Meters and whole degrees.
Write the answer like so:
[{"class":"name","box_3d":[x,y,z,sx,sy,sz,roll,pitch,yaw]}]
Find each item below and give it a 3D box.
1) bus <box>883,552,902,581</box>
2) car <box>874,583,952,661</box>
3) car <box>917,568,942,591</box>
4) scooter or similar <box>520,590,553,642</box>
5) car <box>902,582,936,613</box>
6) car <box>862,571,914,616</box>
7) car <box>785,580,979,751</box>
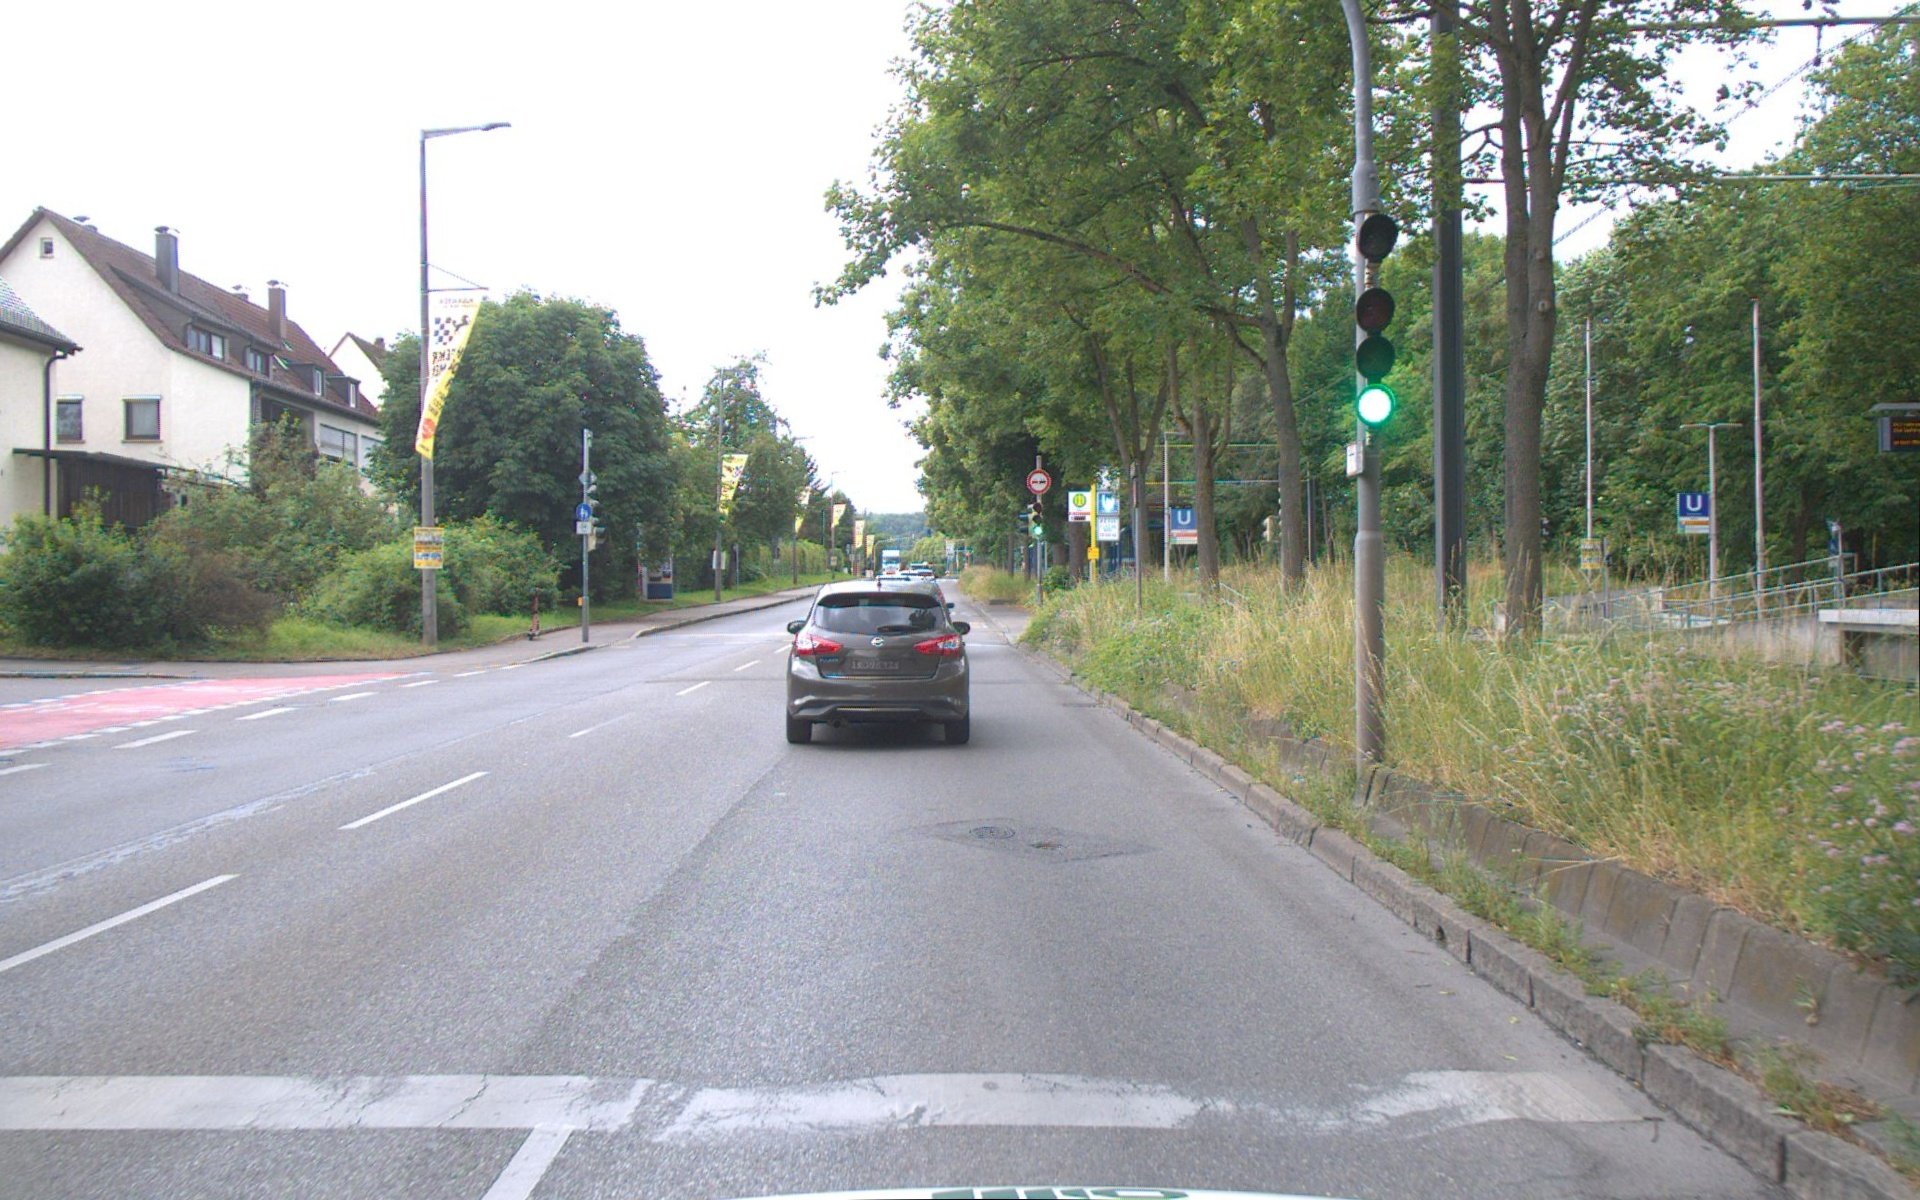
[{"class":"bus","box_3d":[-9.614,-4.735,236.300,2.437,4.096,10.216,0,1,-1]},{"class":"car","box_3d":[-0.922,0.397,33.170,1.471,1.466,3.541,0,1,-1]},{"class":"car","box_3d":[-2.044,-1.379,111.081,1.657,1.466,3.541,0,1,-1]},{"class":"scooter or similar","box_3d":[-10.576,0.383,41.369,0.453,1.281,1.426,0,1,0]},{"class":"car","box_3d":[-2.005,-0.152,81.371,1.657,1.466,3.541,0,1,-1]},{"class":"car","box_3d":[-2.367,-0.229,55.008,1.657,1.466,3.541,0,1,-1]},{"class":"car","box_3d":[-0.720,0.577,16.773,1.747,1.533,3.695,0,0,-1]}]
